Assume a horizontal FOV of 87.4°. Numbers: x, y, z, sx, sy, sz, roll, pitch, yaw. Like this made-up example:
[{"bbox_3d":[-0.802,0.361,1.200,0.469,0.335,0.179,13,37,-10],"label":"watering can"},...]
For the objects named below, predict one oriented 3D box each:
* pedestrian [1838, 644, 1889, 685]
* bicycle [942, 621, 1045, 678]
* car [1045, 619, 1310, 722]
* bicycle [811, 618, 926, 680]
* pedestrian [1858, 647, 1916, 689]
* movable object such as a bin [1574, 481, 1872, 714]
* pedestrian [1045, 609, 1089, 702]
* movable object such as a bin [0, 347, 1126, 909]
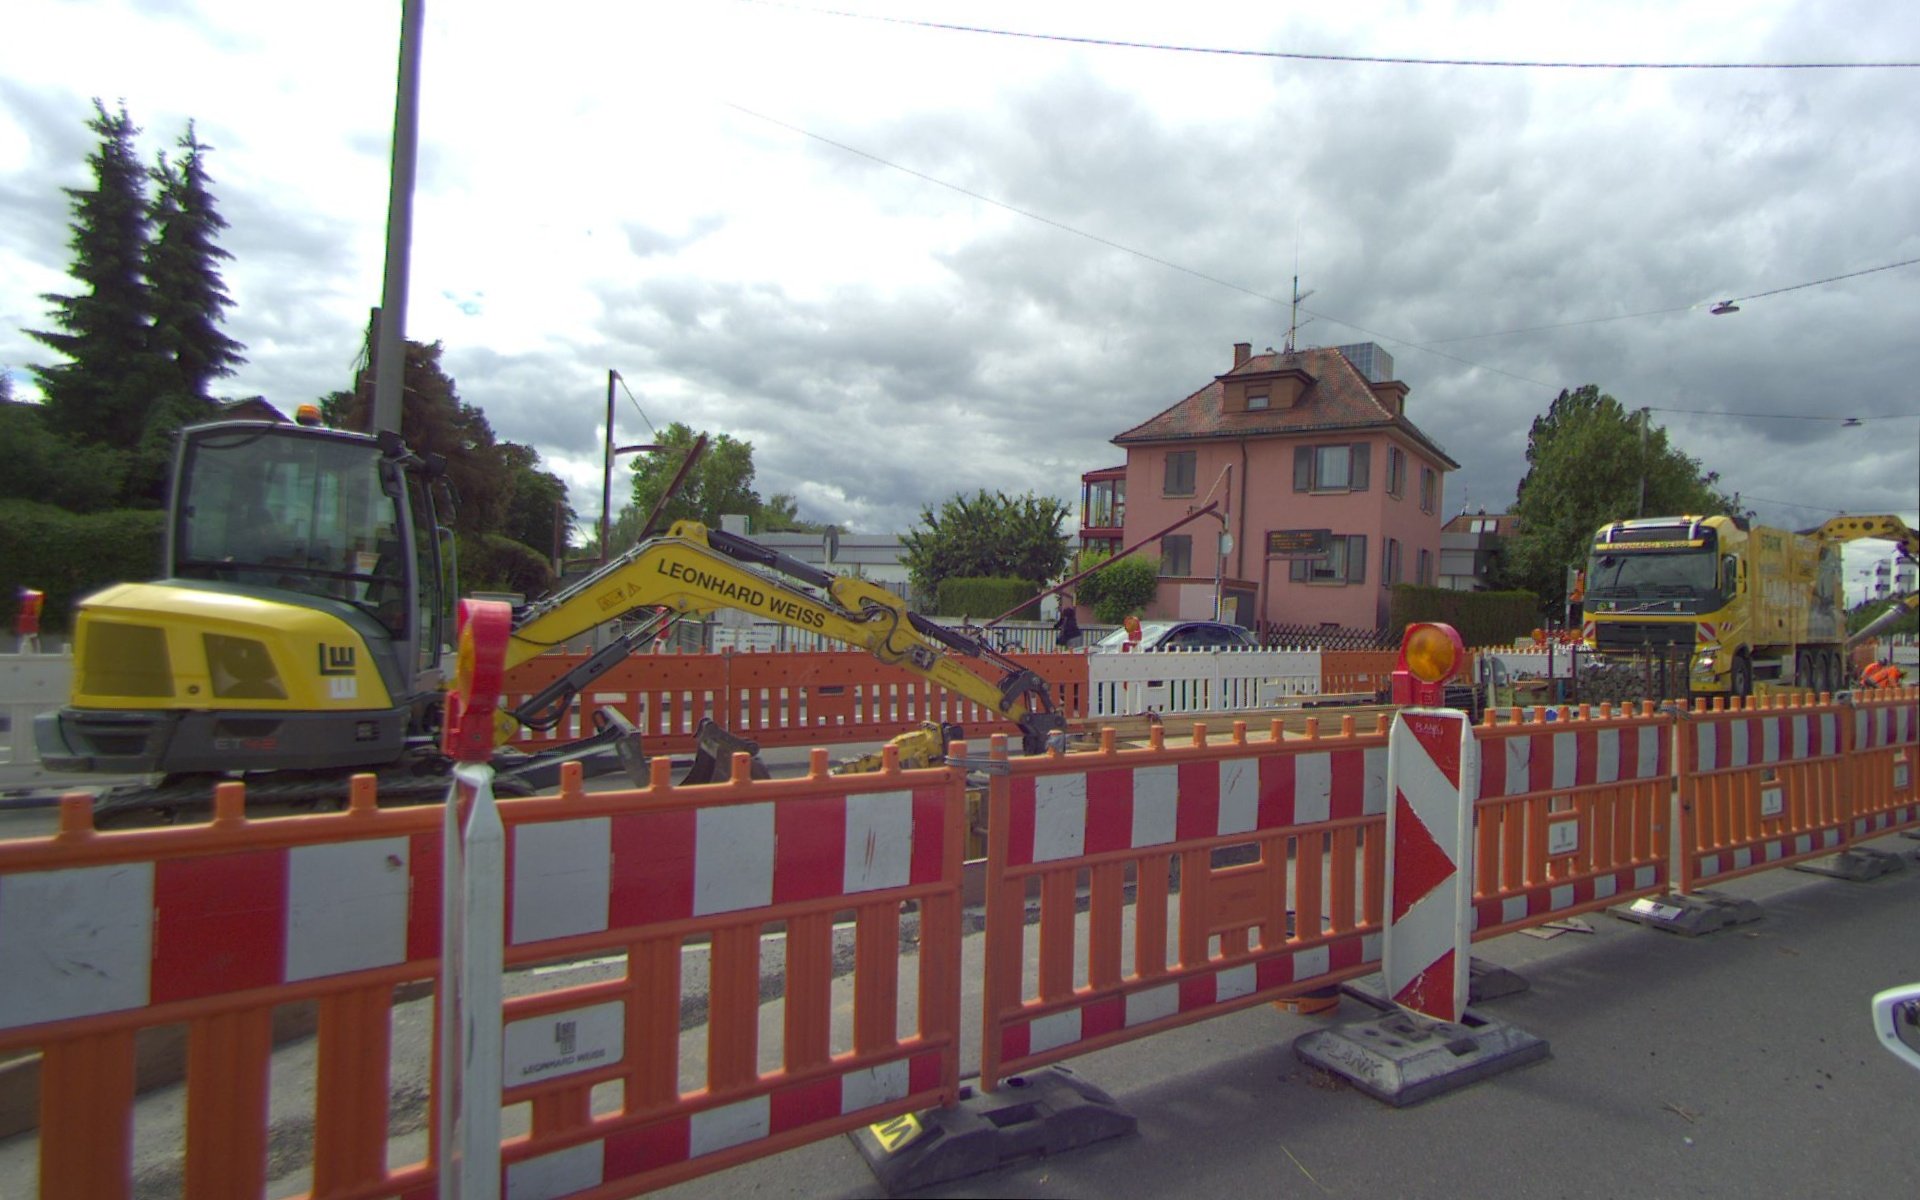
[{"bbox_3d":[23.391,1.672,26.003,0.779,1.004,0.641,1,0,-13],"label":"pedestrian"},{"bbox_3d":[0.683,0.987,20.226,2.107,1.097,0.535,2,-1,-31],"label":"bicycle"},{"bbox_3d":[3.790,1.152,17.270,4.390,1.533,1.845,2,-1,-31],"label":"car"},{"bbox_3d":[-1.692,0.912,18.826,2.107,1.097,0.535,2,-1,-31],"label":"bicycle"},{"bbox_3d":[23.189,1.685,25.133,0.800,1.004,0.789,1,0,-23],"label":"pedestrian"},{"bbox_3d":[17.681,0.092,22.820,11.020,4.277,2.572,2,-1,-38],"label":"movable object such as a bin"},{"bbox_3d":[2.246,1.144,21.096,0.579,1.911,0.675,2,0,-33],"label":"pedestrian"},{"bbox_3d":[-2.156,0.218,6.872,6.430,2.660,1.989,2,-1,-23],"label":"movable object such as a bin"}]
